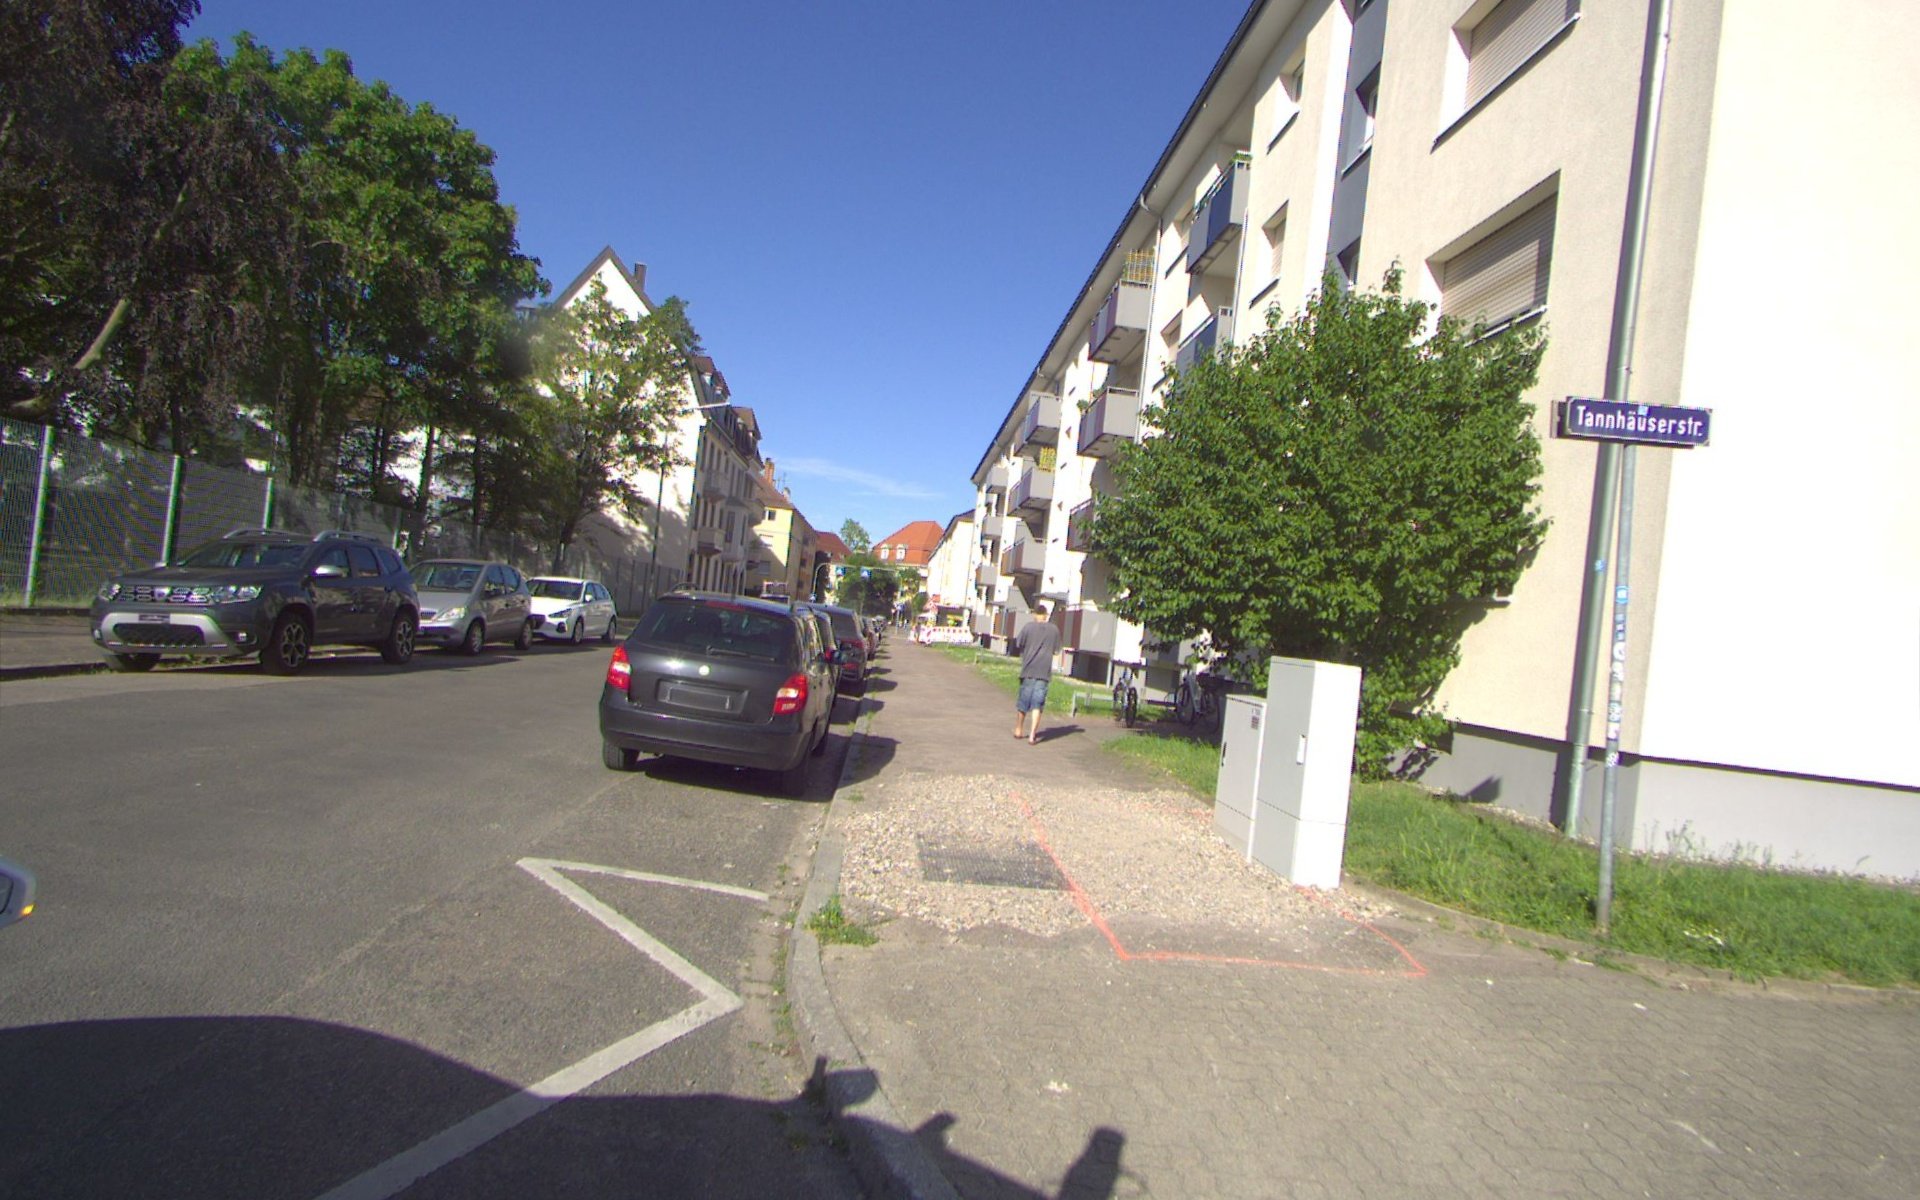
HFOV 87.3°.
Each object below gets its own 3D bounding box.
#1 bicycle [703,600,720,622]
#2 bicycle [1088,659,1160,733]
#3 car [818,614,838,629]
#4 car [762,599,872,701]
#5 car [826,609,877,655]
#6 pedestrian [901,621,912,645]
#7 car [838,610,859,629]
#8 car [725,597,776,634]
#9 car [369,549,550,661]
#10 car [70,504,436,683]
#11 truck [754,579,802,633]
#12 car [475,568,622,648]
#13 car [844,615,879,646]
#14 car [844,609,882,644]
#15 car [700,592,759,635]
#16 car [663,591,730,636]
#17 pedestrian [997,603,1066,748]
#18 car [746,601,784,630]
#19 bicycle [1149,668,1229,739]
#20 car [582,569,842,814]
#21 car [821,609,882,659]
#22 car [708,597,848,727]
[{"bbox_3d":[-15.952,0.694,64.689,0.561,1.295,2.339,7,-1,-4],"label":"bicycle"},{"bbox_3d":[2.752,1.597,17.146,0.478,1.024,2.282,6,-1,-8],"label":"bicycle"},{"bbox_3d":[-14.516,2.369,110.741,1.765,1.498,4.097,6,-1,-4],"label":"car"},{"bbox_3d":[-2.751,0.925,19.806,1.727,1.577,4.253,8,-2,-6],"label":"car"},{"bbox_3d":[-4.647,1.367,43.390,1.871,1.640,4.600,7,-2,-5],"label":"car"},{"bbox_3d":[-3.344,2.048,62.924,0.566,1.451,0.471,5,0,-2],"label":"pedestrian"},{"bbox_3d":[-10.808,1.902,98.010,1.795,1.653,4.254,6,-1,-5],"label":"car"},{"bbox_3d":[-10.763,0.822,51.859,1.766,1.580,4.460,8,-2,-3],"label":"car"},{"bbox_3d":[-8.486,0.122,17.391,1.540,1.663,3.614,3,-1,-6],"label":"car"},{"bbox_3d":[-8.117,-0.013,12.113,1.686,1.684,4.163,4,-1,-6],"label":"car"},{"bbox_3d":[-11.726,0.455,65.217,2.226,3.020,7.274,7,-2,-6],"label":"truck"},{"bbox_3d":[-9.027,0.216,22.435,1.767,1.462,4.119,5,-1,-5],"label":"car"},{"bbox_3d":[-5.727,1.759,58.777,1.664,1.483,3.582,9,-1,-3],"label":"car"},{"bbox_3d":[-5.224,1.388,53.888,1.664,1.478,3.817,12,-2,-7],"label":"car"},{"bbox_3d":[-10.371,0.646,45.653,1.851,1.684,4.930,5,-2,-5],"label":"car"},{"bbox_3d":[-10.227,0.545,39.339,1.767,1.488,4.500,5,-2,-6],"label":"car"},{"bbox_3d":[0.930,0.976,13.279,0.635,1.792,0.841,7,-1,-1],"label":"pedestrian"},{"bbox_3d":[-11.251,0.873,58.339,1.765,1.561,4.637,1,0,-6],"label":"car"},{"bbox_3d":[3.855,1.726,17.157,0.478,0.972,2.282,6,-1,-8],"label":"bicycle"},{"bbox_3d":[-1.984,0.712,9.169,1.594,1.566,4.084,7,-2,-6],"label":"car"},{"bbox_3d":[-3.746,1.180,35.382,1.726,1.460,4.523,7,-2,-3],"label":"car"},{"bbox_3d":[-2.563,0.848,14.917,1.582,1.501,3.796,7,-2,-5],"label":"car"}]
